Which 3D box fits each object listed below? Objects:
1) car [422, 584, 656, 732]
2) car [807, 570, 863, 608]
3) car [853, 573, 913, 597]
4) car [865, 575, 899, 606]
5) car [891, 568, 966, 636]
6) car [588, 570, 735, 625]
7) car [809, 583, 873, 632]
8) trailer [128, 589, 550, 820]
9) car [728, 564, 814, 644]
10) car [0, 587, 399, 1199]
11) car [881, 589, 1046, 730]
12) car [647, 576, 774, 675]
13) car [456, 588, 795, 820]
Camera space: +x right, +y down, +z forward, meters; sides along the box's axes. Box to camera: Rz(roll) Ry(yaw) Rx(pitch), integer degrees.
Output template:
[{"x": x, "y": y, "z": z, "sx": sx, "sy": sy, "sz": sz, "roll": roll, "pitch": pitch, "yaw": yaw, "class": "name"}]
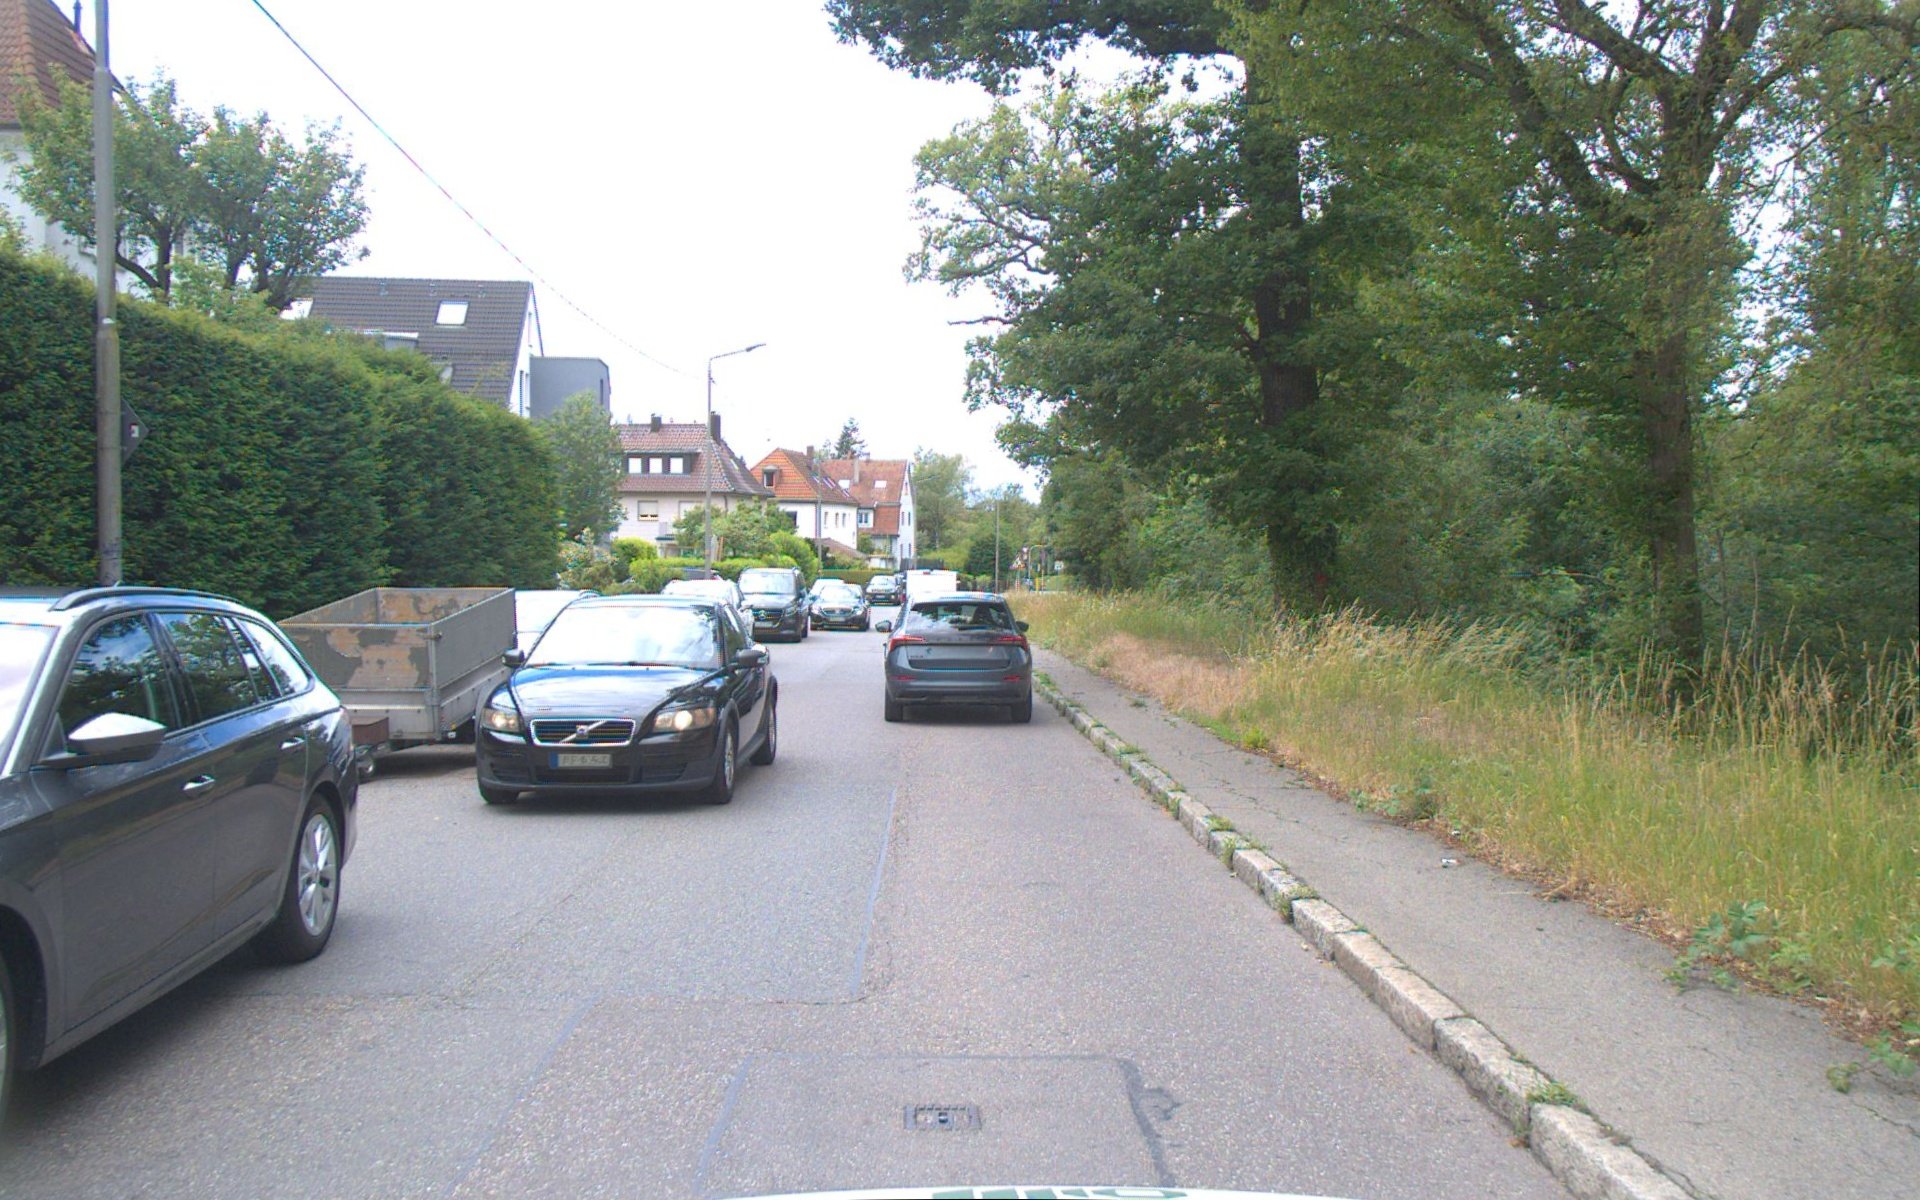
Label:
[{"x": -4.904, "y": 0.597, "z": 19.894, "sx": 1.728, "sy": 1.525, "sz": 4.472, "roll": -1, "pitch": 1, "yaw": -2, "class": "car"}, {"x": -5.217, "y": -0.465, "z": 69.434, "sx": 1.746, "sy": 1.526, "sz": 4.017, "roll": 2, "pitch": 1, "yaw": 3, "class": "car"}, {"x": -5.360, "y": -1.058, "z": 115.364, "sx": 3.902, "sy": 1.646, "sz": 2.002, "roll": 1, "pitch": 1, "yaw": 7, "class": "car"}, {"x": -4.361, "y": -0.575, "z": 93.146, "sx": 1.797, "sy": 1.624, "sz": 4.323, "roll": 1, "pitch": 1, "yaw": -2, "class": "car"}, {"x": -1.039, "y": 0.028, "z": 51.644, "sx": 2.031, "sy": 1.955, "sz": 4.918, "roll": 1, "pitch": 1, "yaw": -4, "class": "car"}, {"x": -9.716, "y": -0.098, "z": 54.091, "sx": 4.526, "sy": 1.727, "sz": 1.998, "roll": 0, "pitch": 1, "yaw": -5, "class": "car"}, {"x": -3.754, "y": 0.210, "z": 52.833, "sx": 1.825, "sy": 1.439, "sz": 4.590, "roll": 2, "pitch": 1, "yaw": -2, "class": "car"}, {"x": -4.701, "y": 0.682, "z": 13.287, "sx": 1.727, "sy": 1.522, "sz": 4.473, "roll": 0, "pitch": 1, "yaw": -1, "class": "trailer"}, {"x": -4.979, "y": 0.078, "z": 44.103, "sx": 1.825, "sy": 1.960, "sz": 5.036, "roll": 2, "pitch": 1, "yaw": -2, "class": "car"}, {"x": -3.197, "y": 0.705, "z": 5.068, "sx": 1.729, "sy": 1.471, "sz": 4.469, "roll": 0, "pitch": 1, "yaw": -4, "class": "car"}, {"x": -0.058, "y": 0.638, "z": 20.228, "sx": 1.694, "sy": 1.464, "sz": 4.320, "roll": 1, "pitch": 1, "yaw": -4, "class": "car"}, {"x": -4.581, "y": 0.420, "z": 30.904, "sx": 1.801, "sy": 1.677, "sz": 4.184, "roll": -1, "pitch": 1, "yaw": -1, "class": "car"}, {"x": -2.375, "y": 0.650, "z": 12.891, "sx": 1.727, "sy": 1.471, "sz": 4.473, "roll": 0, "pitch": 1, "yaw": 0, "class": "car"}]
